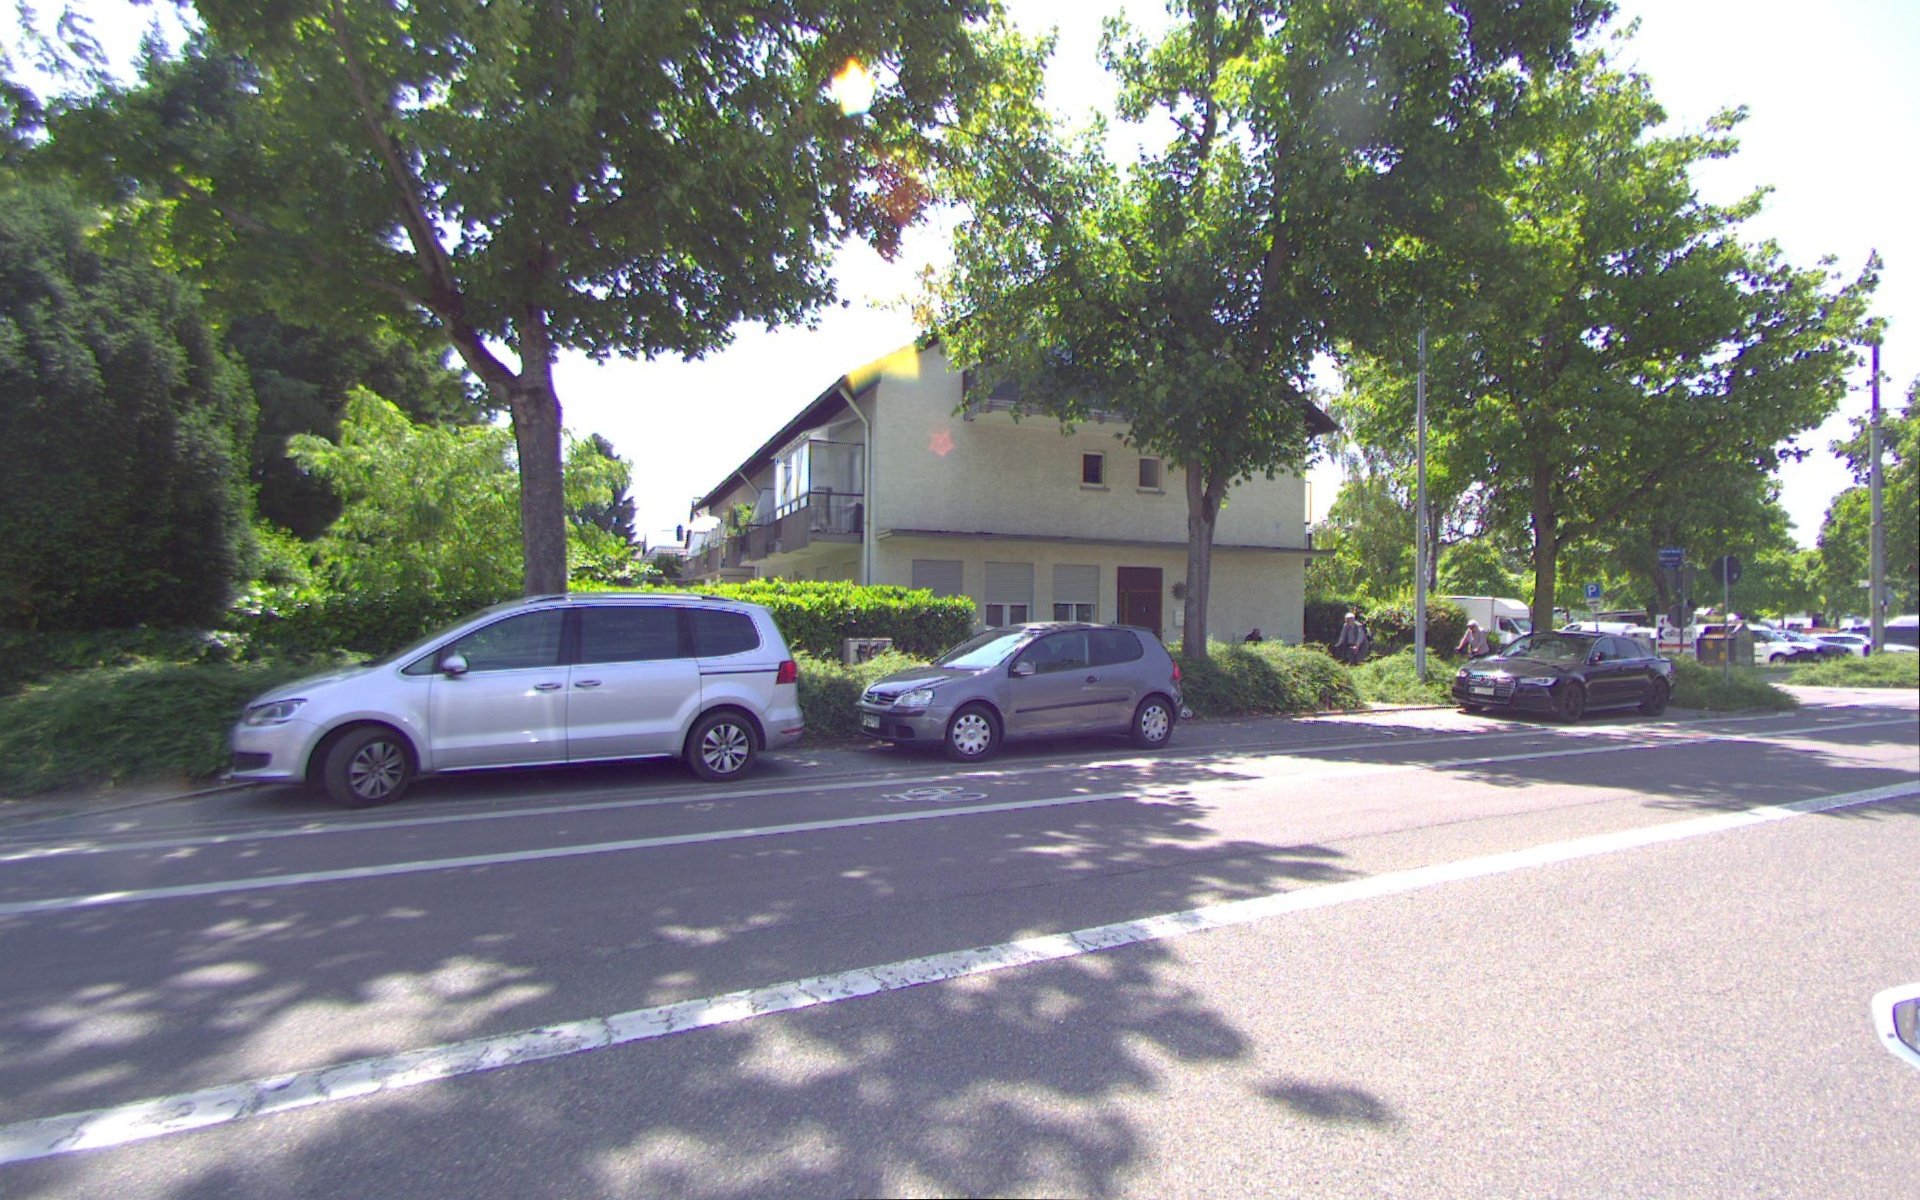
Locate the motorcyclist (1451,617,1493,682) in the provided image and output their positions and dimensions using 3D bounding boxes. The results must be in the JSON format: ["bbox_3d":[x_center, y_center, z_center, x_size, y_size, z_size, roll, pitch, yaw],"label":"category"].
[{"bbox_3d":[12.395,1.184,24.337,0.654,1.523,0.584,1,2,-29],"label":"motorcyclist"}]

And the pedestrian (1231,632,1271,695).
[{"bbox_3d":[7.285,1.571,25.186,0.599,1.530,0.792,1,-1,-23],"label":"pedestrian"}]

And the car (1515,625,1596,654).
[{"bbox_3d":[34.957,2.306,59.033,1.712,1.597,3.729,1,0,-30],"label":"car"}]

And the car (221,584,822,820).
[{"bbox_3d":[-3.813,0.774,9.300,4.631,1.711,1.962,1,0,-30],"label":"car"}]

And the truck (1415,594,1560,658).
[{"bbox_3d":[28.608,1.355,54.833,2.126,3.270,6.942,1,0,-31],"label":"truck"}]

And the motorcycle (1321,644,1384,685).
[{"bbox_3d":[8.667,1.423,22.189,1.354,0.837,0.523,1,2,-29],"label":"motorcycle"}]

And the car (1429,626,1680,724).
[{"bbox_3d":[10.565,1.233,17.748,4.757,1.476,1.883,1,0,-33],"label":"car"}]

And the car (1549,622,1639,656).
[{"bbox_3d":[37.470,2.269,59.476,1.948,1.845,4.108,1,-1,-30],"label":"car"}]

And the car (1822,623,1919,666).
[{"bbox_3d":[45.547,2.154,49.596,1.835,2.021,4.189,1,-1,-30],"label":"car"}]

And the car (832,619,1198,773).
[{"bbox_3d":[0.701,1.015,11.863,4.080,1.506,1.668,1,0,-31],"label":"car"}]

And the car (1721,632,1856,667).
[{"bbox_3d":[36.387,2.140,44.202,2.059,1.422,4.171,1,-1,-33],"label":"car"}]

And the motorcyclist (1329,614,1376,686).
[{"bbox_3d":[8.672,1.090,22.193,0.716,1.523,0.584,1,2,-29],"label":"motorcyclist"}]

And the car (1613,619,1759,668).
[{"bbox_3d":[29.516,1.717,40.939,2.040,1.881,4.421,1,-1,-34],"label":"car"}]

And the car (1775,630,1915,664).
[{"bbox_3d":[42.935,2.253,48.832,2.034,1.508,4.738,1,-1,-30],"label":"car"}]

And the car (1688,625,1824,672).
[{"bbox_3d":[33.835,2.020,42.813,1.651,1.860,4.251,1,-1,-27],"label":"car"}]

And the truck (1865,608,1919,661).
[{"bbox_3d":[52.313,1.863,53.555,2.402,2.796,5.556,1,-1,-28],"label":"truck"}]
